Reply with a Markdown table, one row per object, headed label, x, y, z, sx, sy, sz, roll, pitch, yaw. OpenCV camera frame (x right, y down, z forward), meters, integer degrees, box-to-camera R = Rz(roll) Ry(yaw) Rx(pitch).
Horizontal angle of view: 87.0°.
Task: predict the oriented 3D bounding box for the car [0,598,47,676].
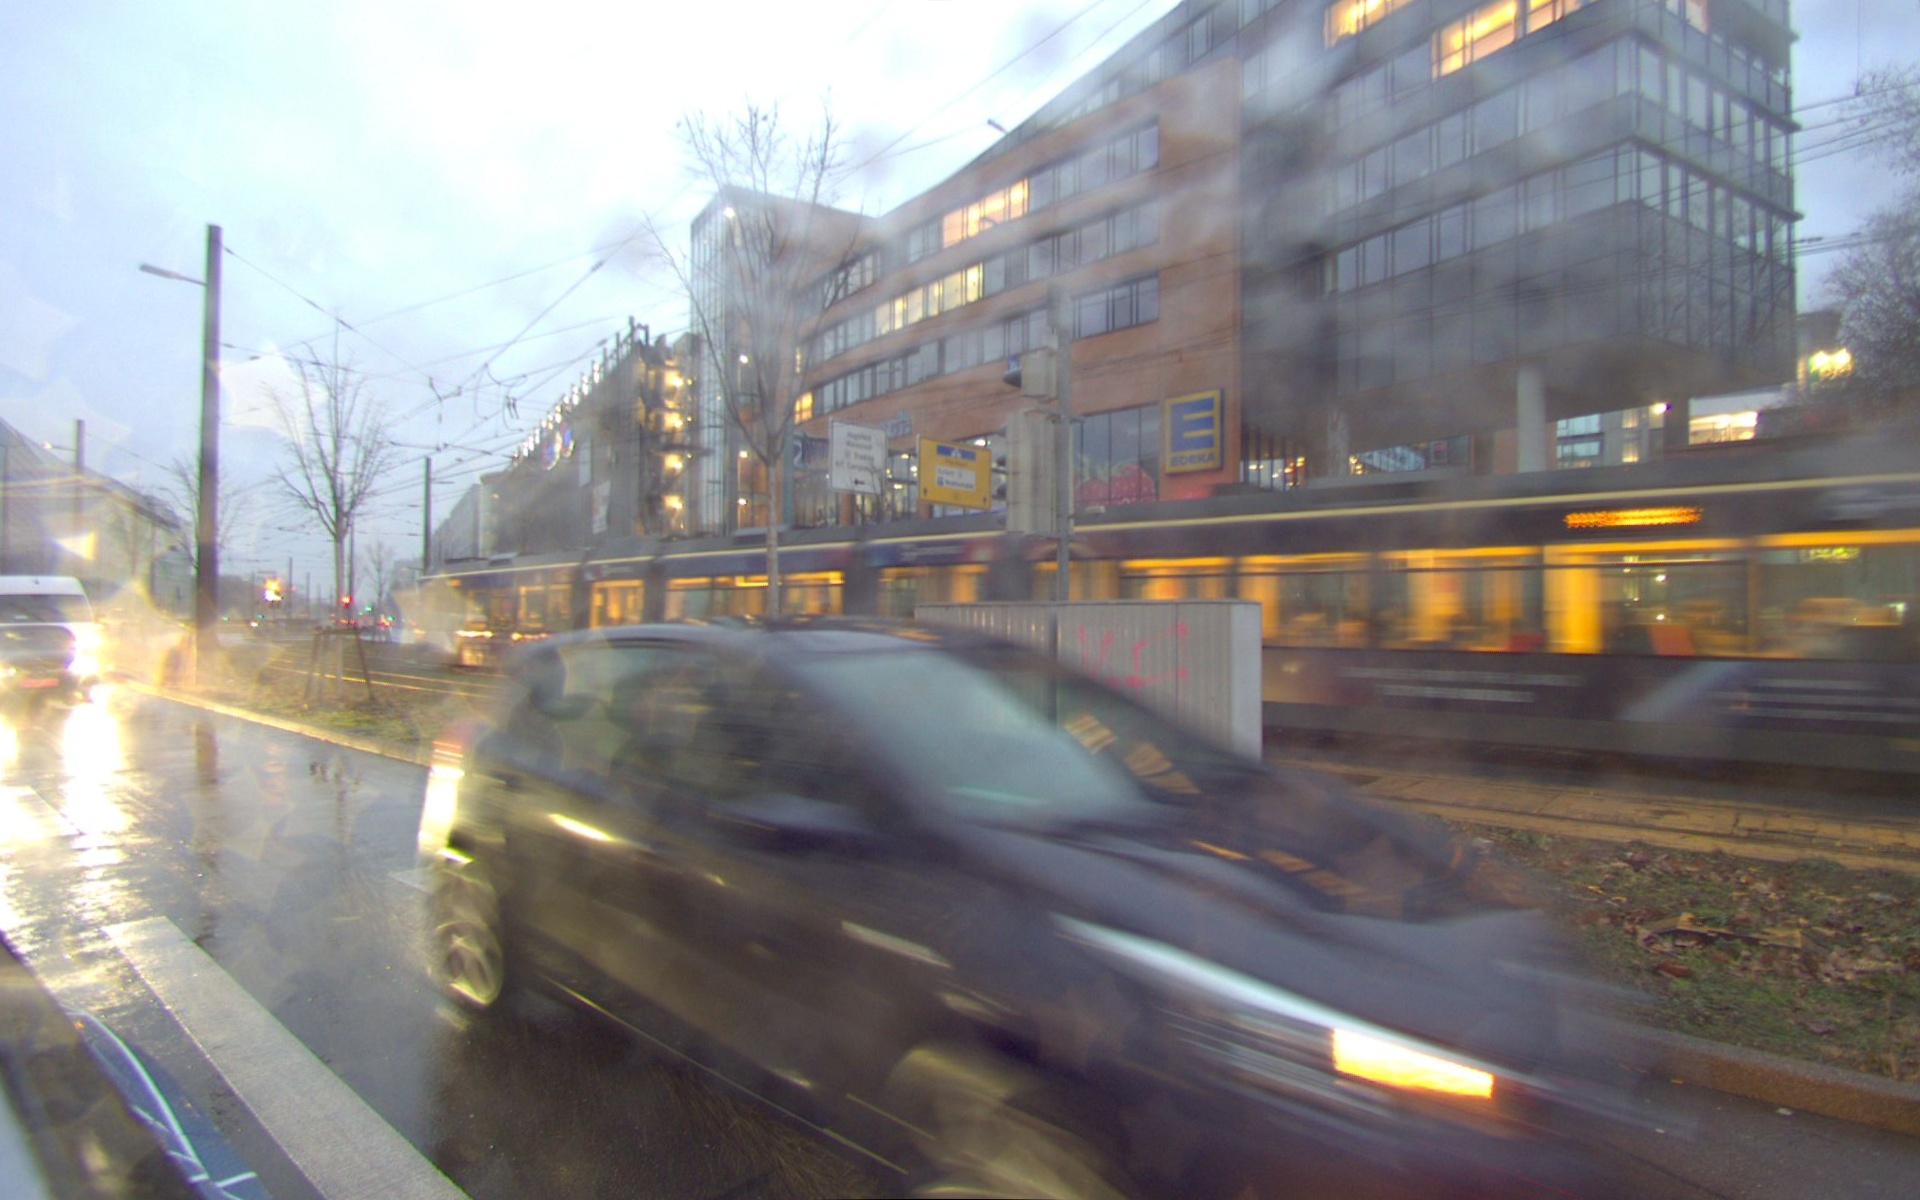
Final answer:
| label | x | y | z | sx | sy | sz | roll | pitch | yaw |
| --- | --- | --- | --- | --- | --- | --- | --- | --- | --- |
| car | -37.729 | 1.433 | 39.629 | 5.808 | 2.885 | 2.103 | -1 | -2 | 40 |

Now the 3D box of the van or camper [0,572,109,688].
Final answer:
| label | x | y | z | sx | sy | sz | roll | pitch | yaw |
| --- | --- | --- | --- | --- | --- | --- | --- | --- | --- |
| van or camper | -22.872 | 0.725 | 24.791 | 5.894 | 2.551 | 2.126 | -1 | -2 | 40 |

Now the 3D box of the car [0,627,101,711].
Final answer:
| label | x | y | z | sx | sy | sz | roll | pitch | yaw |
| --- | --- | --- | --- | --- | --- | --- | --- | --- | --- |
| car | -17.734 | 1.233 | 19.216 | 4.057 | 1.355 | 1.735 | 0 | -1 | 44 |

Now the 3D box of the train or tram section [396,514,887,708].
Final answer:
| label | x | y | z | sx | sy | sz | roll | pitch | yaw |
| --- | --- | --- | --- | --- | --- | --- | --- | --- | --- |
| train or tram section | -9.820 | 0.393 | 26.812 | 20.070 | 3.642 | 2.833 | -1 | -2 | 43 |

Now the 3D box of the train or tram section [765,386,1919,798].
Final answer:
| label | x | y | z | sx | sy | sz | roll | pitch | yaw |
| --- | --- | --- | --- | --- | --- | --- | --- | --- | --- |
| train or tram section | 4.569 | 0.051 | 14.090 | 19.197 | 3.642 | 2.835 | -1 | -2 | 40 |

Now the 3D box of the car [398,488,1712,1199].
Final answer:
| label | x | y | z | sx | sy | sz | roll | pitch | yaw |
| --- | --- | --- | --- | --- | --- | --- | --- | --- | --- |
| car | -0.158 | 0.702 | 3.212 | 3.940 | 1.535 | 1.613 | -2 | -3 | 41 |
